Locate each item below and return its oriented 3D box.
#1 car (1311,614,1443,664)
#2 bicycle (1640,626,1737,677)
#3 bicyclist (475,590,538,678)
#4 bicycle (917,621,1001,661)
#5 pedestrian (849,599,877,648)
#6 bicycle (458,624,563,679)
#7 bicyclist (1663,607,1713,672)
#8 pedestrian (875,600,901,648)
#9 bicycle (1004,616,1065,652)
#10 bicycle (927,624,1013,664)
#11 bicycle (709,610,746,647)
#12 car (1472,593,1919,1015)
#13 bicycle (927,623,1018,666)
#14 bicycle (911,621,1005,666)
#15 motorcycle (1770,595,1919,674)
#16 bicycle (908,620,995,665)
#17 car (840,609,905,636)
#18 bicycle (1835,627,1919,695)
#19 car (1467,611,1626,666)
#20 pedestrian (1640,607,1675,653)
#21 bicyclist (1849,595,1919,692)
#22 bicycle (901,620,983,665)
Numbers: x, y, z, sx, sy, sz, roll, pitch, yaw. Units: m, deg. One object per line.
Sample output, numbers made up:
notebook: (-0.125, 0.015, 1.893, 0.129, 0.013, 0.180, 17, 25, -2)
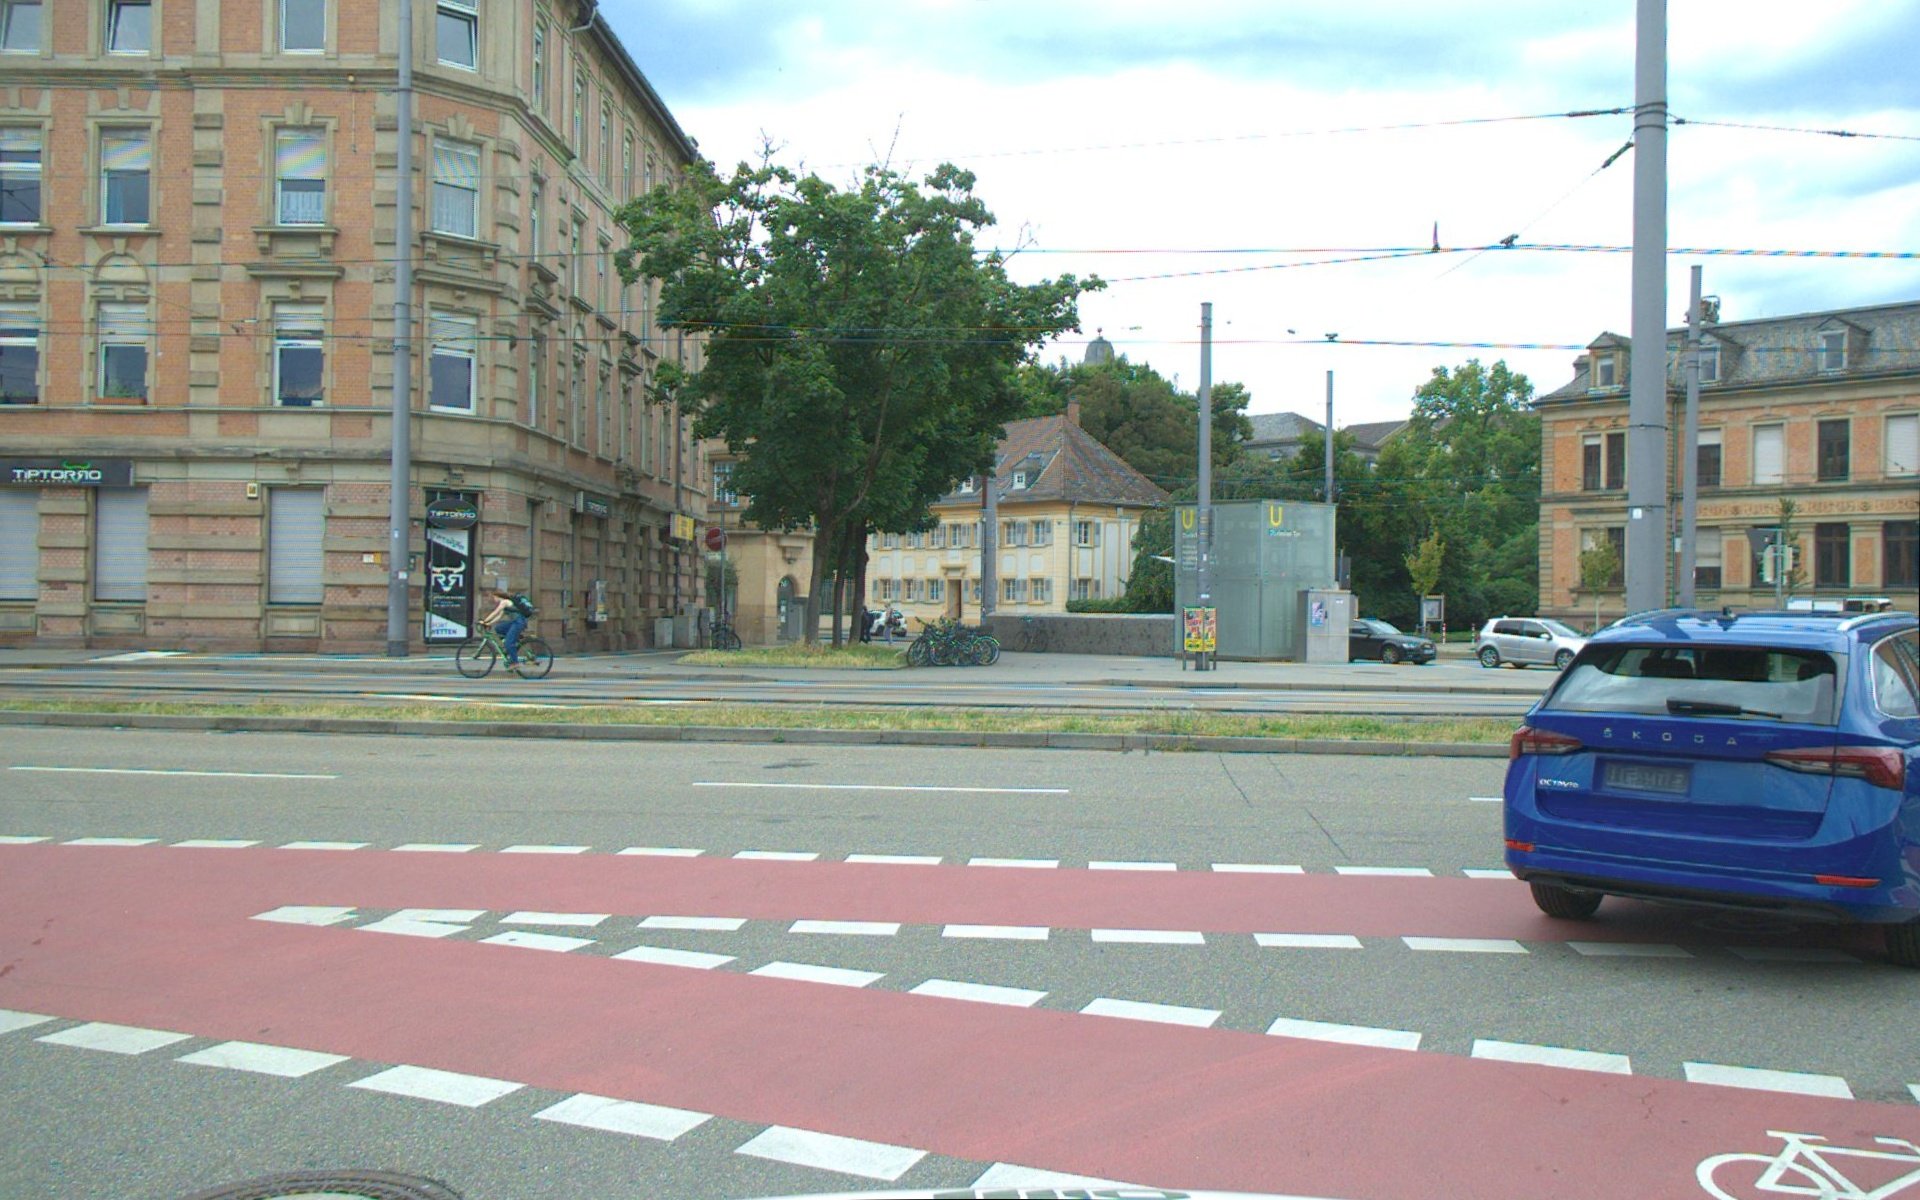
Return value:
car: (13.276, 1.219, 52.908, 1.675, 1.474, 4.097, 1, 0, -32)
bicycle: (18.681, 1.311, 42.464, 0.848, 1.229, 2.169, 2, -1, -37)
bicyclist: (-7.986, 0.597, 29.160, 0.920, 1.520, 0.663, 1, 0, -1)
bicycle: (-0.019, 1.093, 44.329, 2.166, 1.004, 0.586, 1, 0, 12)
pedestrian: (-3.477, 0.841, 59.304, 0.826, 1.753, 0.953, 1, 0, 5)
bicycle: (-7.922, 0.908, 29.176, 1.679, 0.931, 0.607, 1, 0, -2)
bicyclist: (18.692, 1.010, 42.466, 0.846, 1.651, 0.905, 2, -1, -37)
pedestrian: (-2.658, 0.887, 61.015, 0.826, 1.753, 0.953, 1, 0, 5)
bicycle: (2.408, 1.094, 53.836, 0.731, 1.134, 2.334, 1, 0, -35)
bicycle: (0.252, 1.142, 43.129, 2.166, 1.004, 0.586, 1, 0, 12)
bicycle: (-6.085, 0.744, 43.320, 0.647, 0.930, 1.990, 1, 0, 1)
car: (4.261, 0.772, 8.240, 1.752, 1.514, 4.443, 1, -1, 39)
bicycle: (0.307, 1.073, 40.203, 2.166, 1.004, 0.500, 1, 0, 12)
bicycle: (-0.048, 1.034, 39.482, 2.166, 1.024, 0.480, 1, 0, 12)
motorcycle: (24.240, 0.909, 44.971, 1.679, 2.049, 3.636, 1, 0, -38)
bicycle: (-0.202, 0.992, 38.937, 1.988, 1.004, 0.522, 1, 0, 12)
car: (-5.143, 1.301, 97.176, 1.681, 1.474, 4.126, 1, 0, -40)
bicycle: (17.765, 1.174, 31.947, 0.796, 1.264, 2.001, -1, -2, 5)
car: (16.951, 1.086, 47.970, 1.743, 1.479, 4.106, 1, 0, -37)
pedestrian: (27.861, 1.185, 66.070, 1.106, 1.794, 0.754, 0, -1, 41)
bicyclist: (17.764, 0.830, 31.818, 0.796, 1.830, 1.030, -1, -1, 5)
bicycle: (-0.421, 0.974, 38.207, 1.823, 1.004, 0.500, 1, 0, 10)
